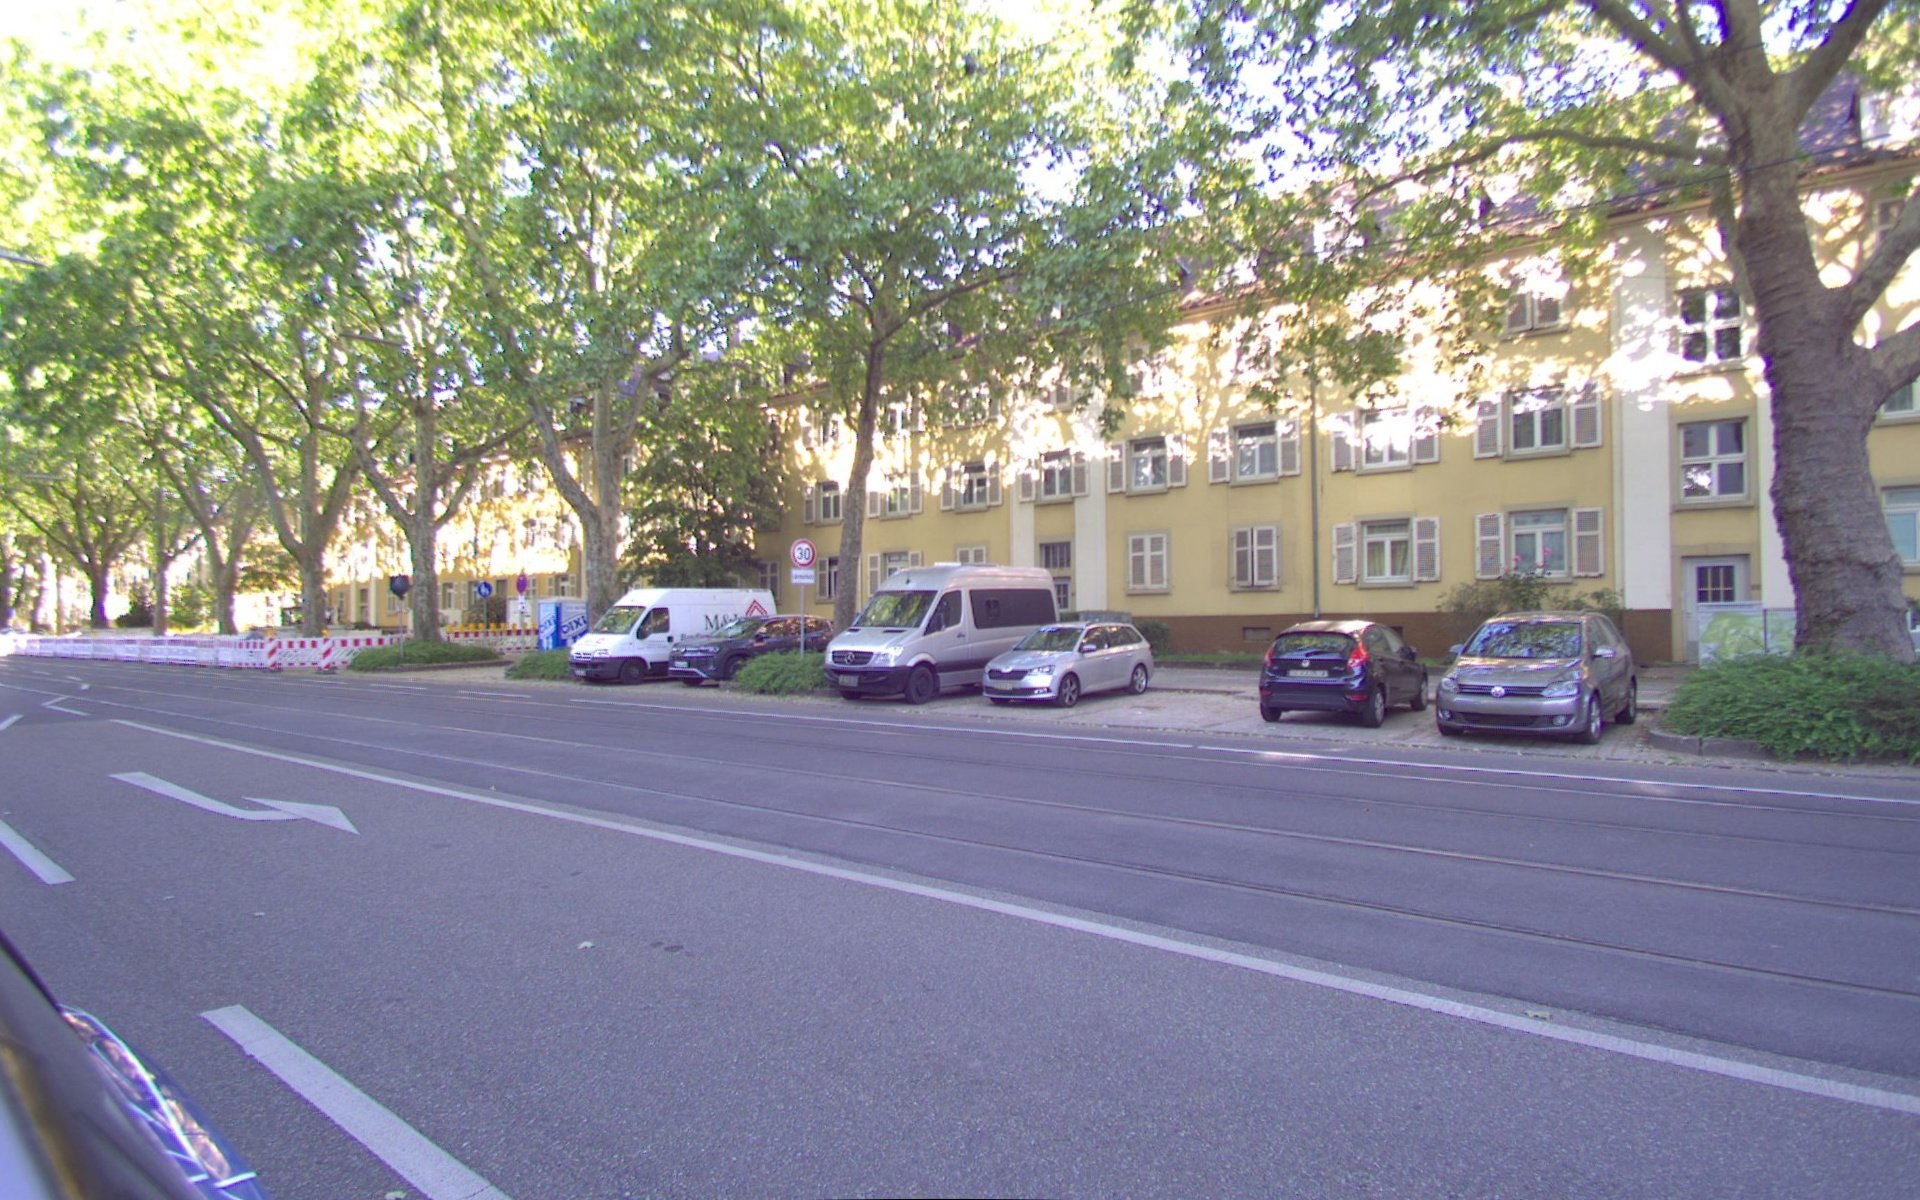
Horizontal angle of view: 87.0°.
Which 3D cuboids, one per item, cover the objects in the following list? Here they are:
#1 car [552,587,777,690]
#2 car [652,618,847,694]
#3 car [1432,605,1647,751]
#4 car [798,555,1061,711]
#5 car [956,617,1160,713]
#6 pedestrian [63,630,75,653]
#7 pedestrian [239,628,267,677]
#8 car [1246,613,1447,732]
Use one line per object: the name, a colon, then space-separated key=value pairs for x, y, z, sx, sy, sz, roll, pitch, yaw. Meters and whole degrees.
car: x=-7.552 y=0.964 z=26.377 sx=2.222 sy=2.394 sz=5.336 roll=-2 pitch=-2 yaw=40
car: x=-4.969 y=1.275 z=24.451 sx=1.772 sy=1.664 sz=4.570 roll=-2 pitch=-2 yaw=38
car: x=7.752 y=0.897 z=13.370 sx=1.672 sy=1.592 sz=3.928 roll=-2 pitch=-1 yaw=42
car: x=-0.418 y=0.608 z=20.450 sx=2.221 sy=2.702 sz=5.596 roll=-2 pitch=-1 yaw=38
car: x=1.921 y=1.120 z=18.838 sx=1.773 sy=1.509 sz=4.031 roll=-2 pitch=-1 yaw=41
pedestrian: x=-74.216 y=3.443 z=84.330 sx=0.722 sy=1.900 sz=0.666 roll=-1 pitch=0 yaw=-42
pedestrian: x=-25.922 y=1.911 z=37.095 sx=0.581 sy=1.759 sz=0.645 roll=-1 pitch=0 yaw=31
car: x=5.975 y=1.000 z=15.421 sx=1.671 sy=1.509 sz=3.756 roll=-2 pitch=-1 yaw=41
